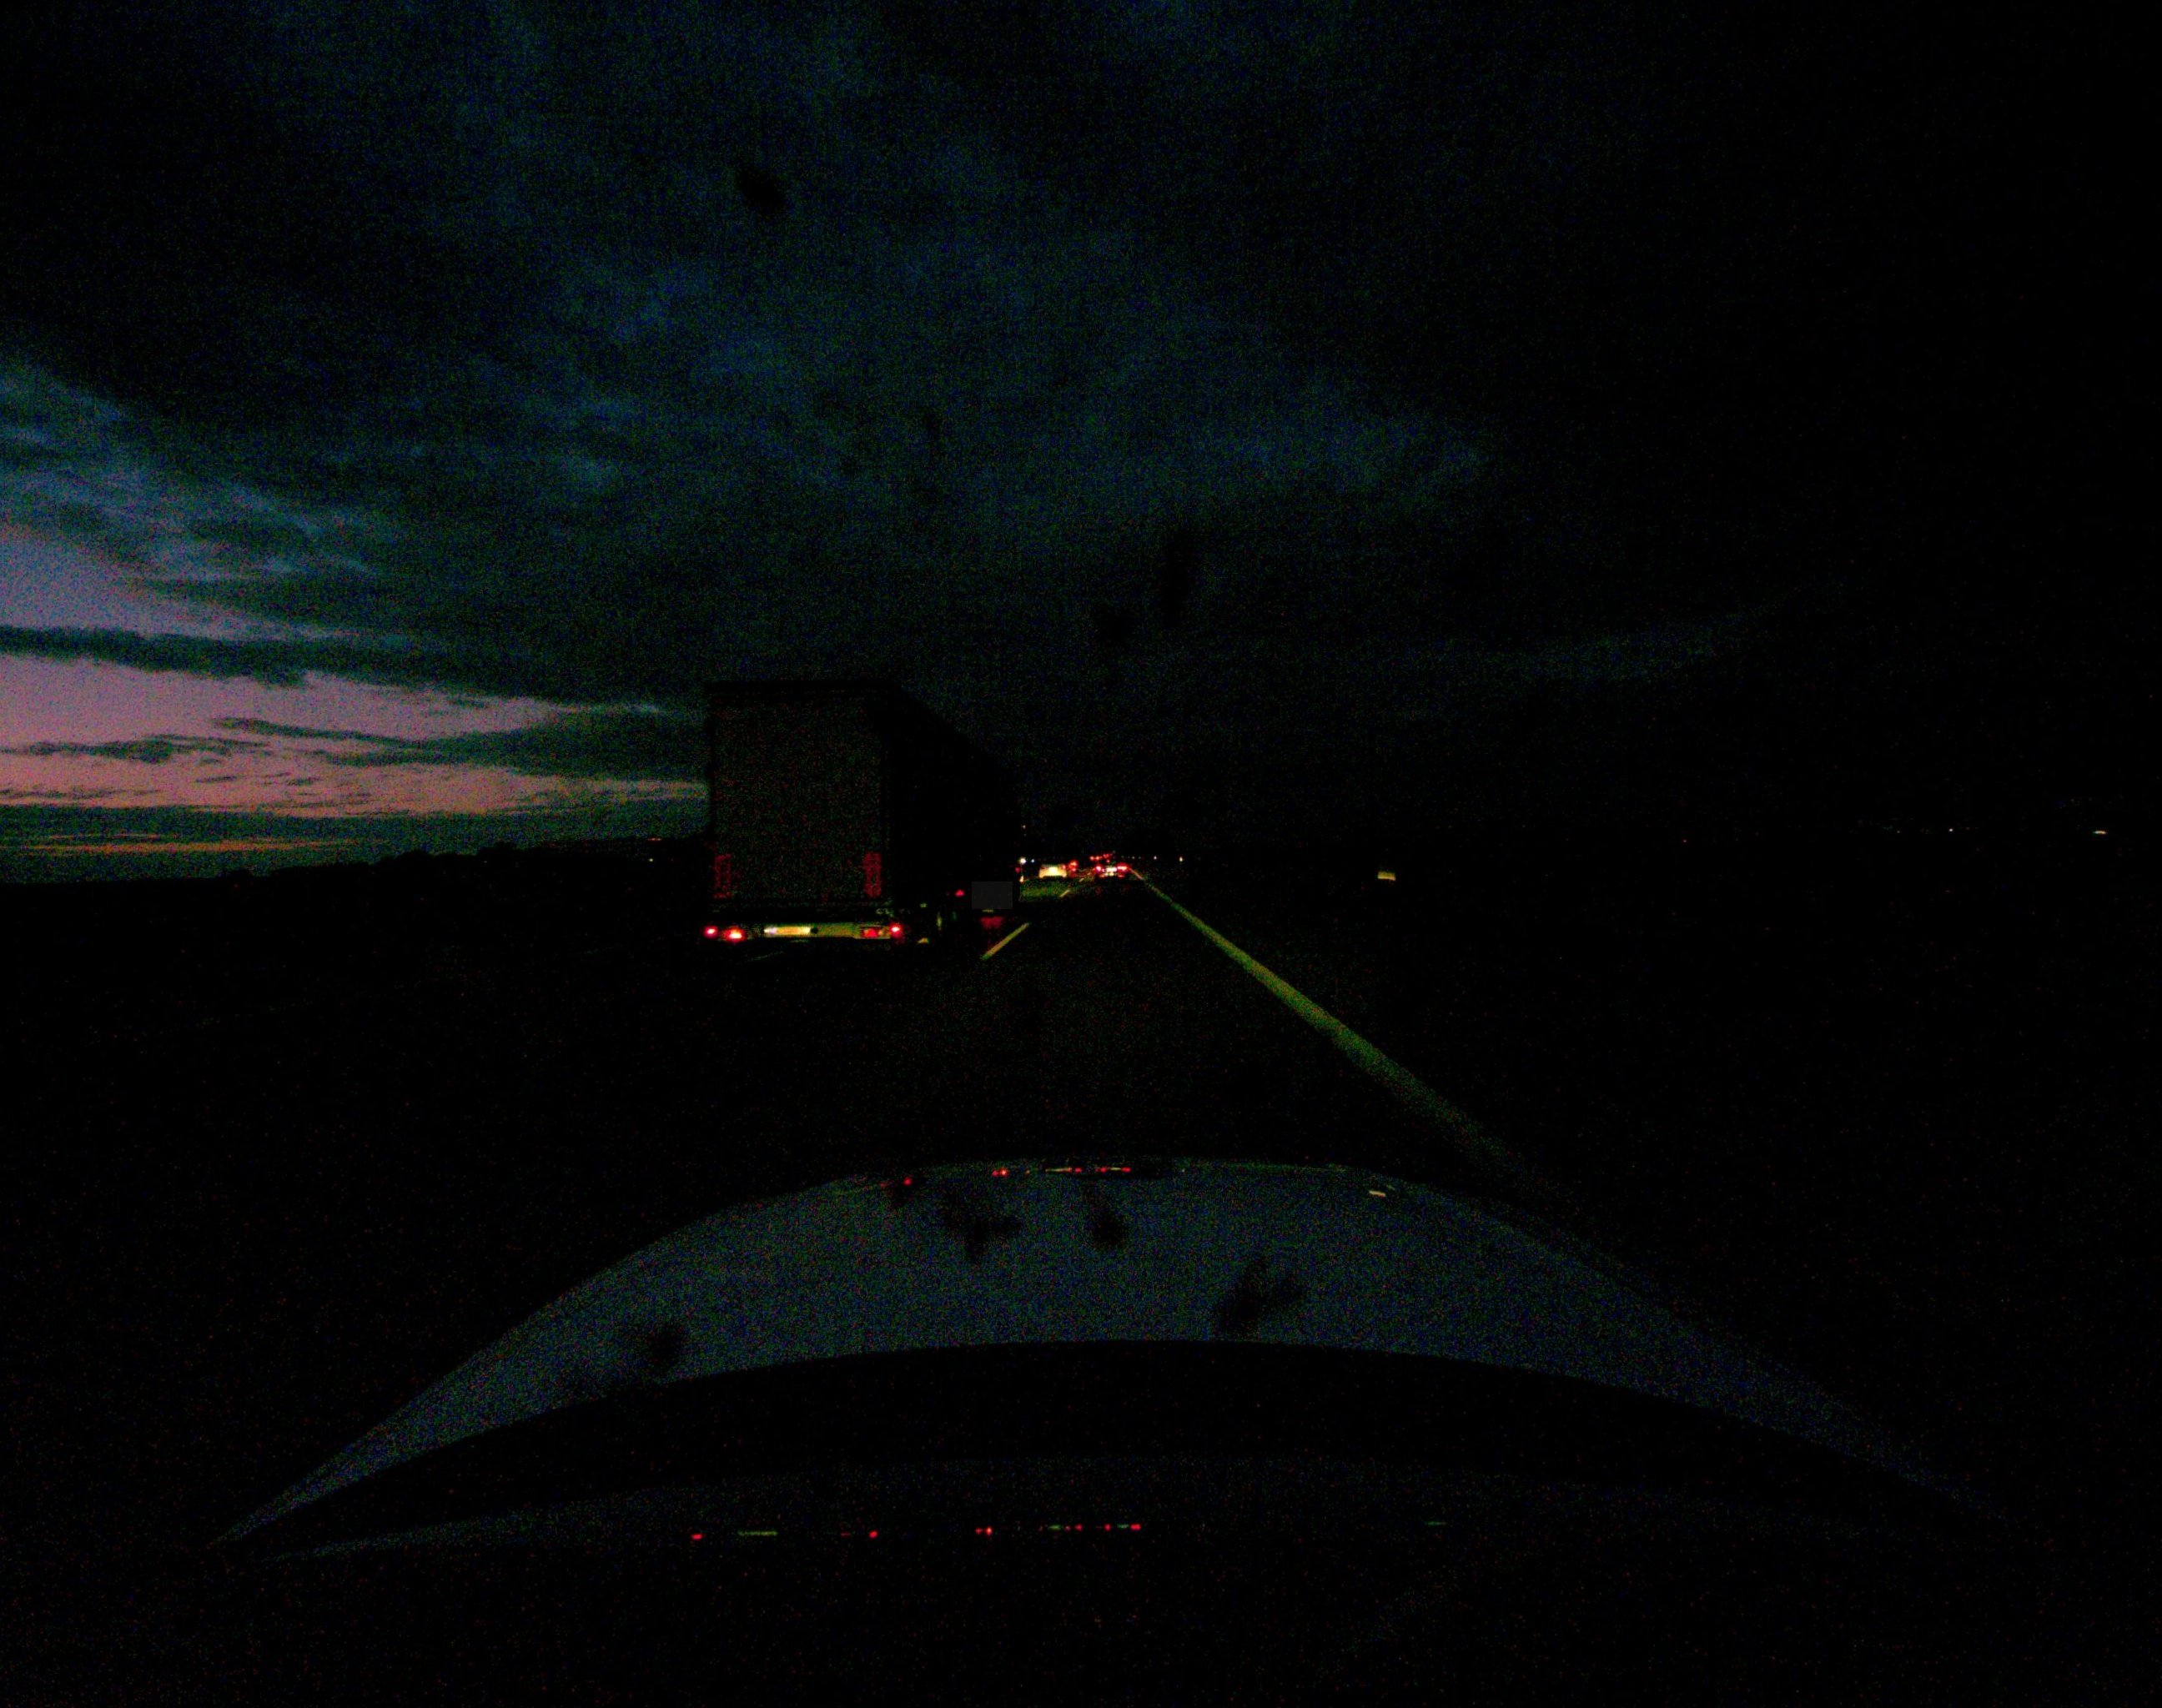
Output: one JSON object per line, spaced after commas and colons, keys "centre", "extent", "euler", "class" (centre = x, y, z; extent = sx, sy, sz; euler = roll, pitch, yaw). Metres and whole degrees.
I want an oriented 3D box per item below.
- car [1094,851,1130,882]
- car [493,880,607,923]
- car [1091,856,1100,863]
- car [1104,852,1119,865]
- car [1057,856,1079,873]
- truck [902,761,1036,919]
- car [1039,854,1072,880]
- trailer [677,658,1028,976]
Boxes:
{"centre": [1.707, 0.666, 45.136], "extent": [1.873, 1.643, 4.002], "euler": [0, -1, 2], "class": "car"}
{"centre": [-21.843, 1.904, 33.743], "extent": [1.652, 1.535, 4.522], "euler": [0, -1, 2], "class": "car"}
{"centre": [3.345, 1.299, 183.993], "extent": [1.873, 1.552, 4.001], "euler": [0, -1, 1], "class": "car"}
{"centre": [3.904, 0.588, 104.950], "extent": [1.873, 1.552, 4.001], "euler": [0, -1, 1], "class": "car"}
{"centre": [-1.138, 0.938, 72.837], "extent": [1.716, 1.471, 4.728], "euler": [0, -1, 2], "class": "car"}
{"centre": [-3.131, -0.346, 24.547], "extent": [2.766, 4.093, 6.107], "euler": [-2, -1, 3], "class": "truck"}
{"centre": [-1.563, 0.808, 50.979], "extent": [1.737, 1.525, 4.417], "euler": [0, -1, 3], "class": "car"}
{"centre": [-3.485, -0.412, 17.922], "extent": [2.782, 4.085, 14.536], "euler": [-2, -1, 3], "class": "trailer"}
